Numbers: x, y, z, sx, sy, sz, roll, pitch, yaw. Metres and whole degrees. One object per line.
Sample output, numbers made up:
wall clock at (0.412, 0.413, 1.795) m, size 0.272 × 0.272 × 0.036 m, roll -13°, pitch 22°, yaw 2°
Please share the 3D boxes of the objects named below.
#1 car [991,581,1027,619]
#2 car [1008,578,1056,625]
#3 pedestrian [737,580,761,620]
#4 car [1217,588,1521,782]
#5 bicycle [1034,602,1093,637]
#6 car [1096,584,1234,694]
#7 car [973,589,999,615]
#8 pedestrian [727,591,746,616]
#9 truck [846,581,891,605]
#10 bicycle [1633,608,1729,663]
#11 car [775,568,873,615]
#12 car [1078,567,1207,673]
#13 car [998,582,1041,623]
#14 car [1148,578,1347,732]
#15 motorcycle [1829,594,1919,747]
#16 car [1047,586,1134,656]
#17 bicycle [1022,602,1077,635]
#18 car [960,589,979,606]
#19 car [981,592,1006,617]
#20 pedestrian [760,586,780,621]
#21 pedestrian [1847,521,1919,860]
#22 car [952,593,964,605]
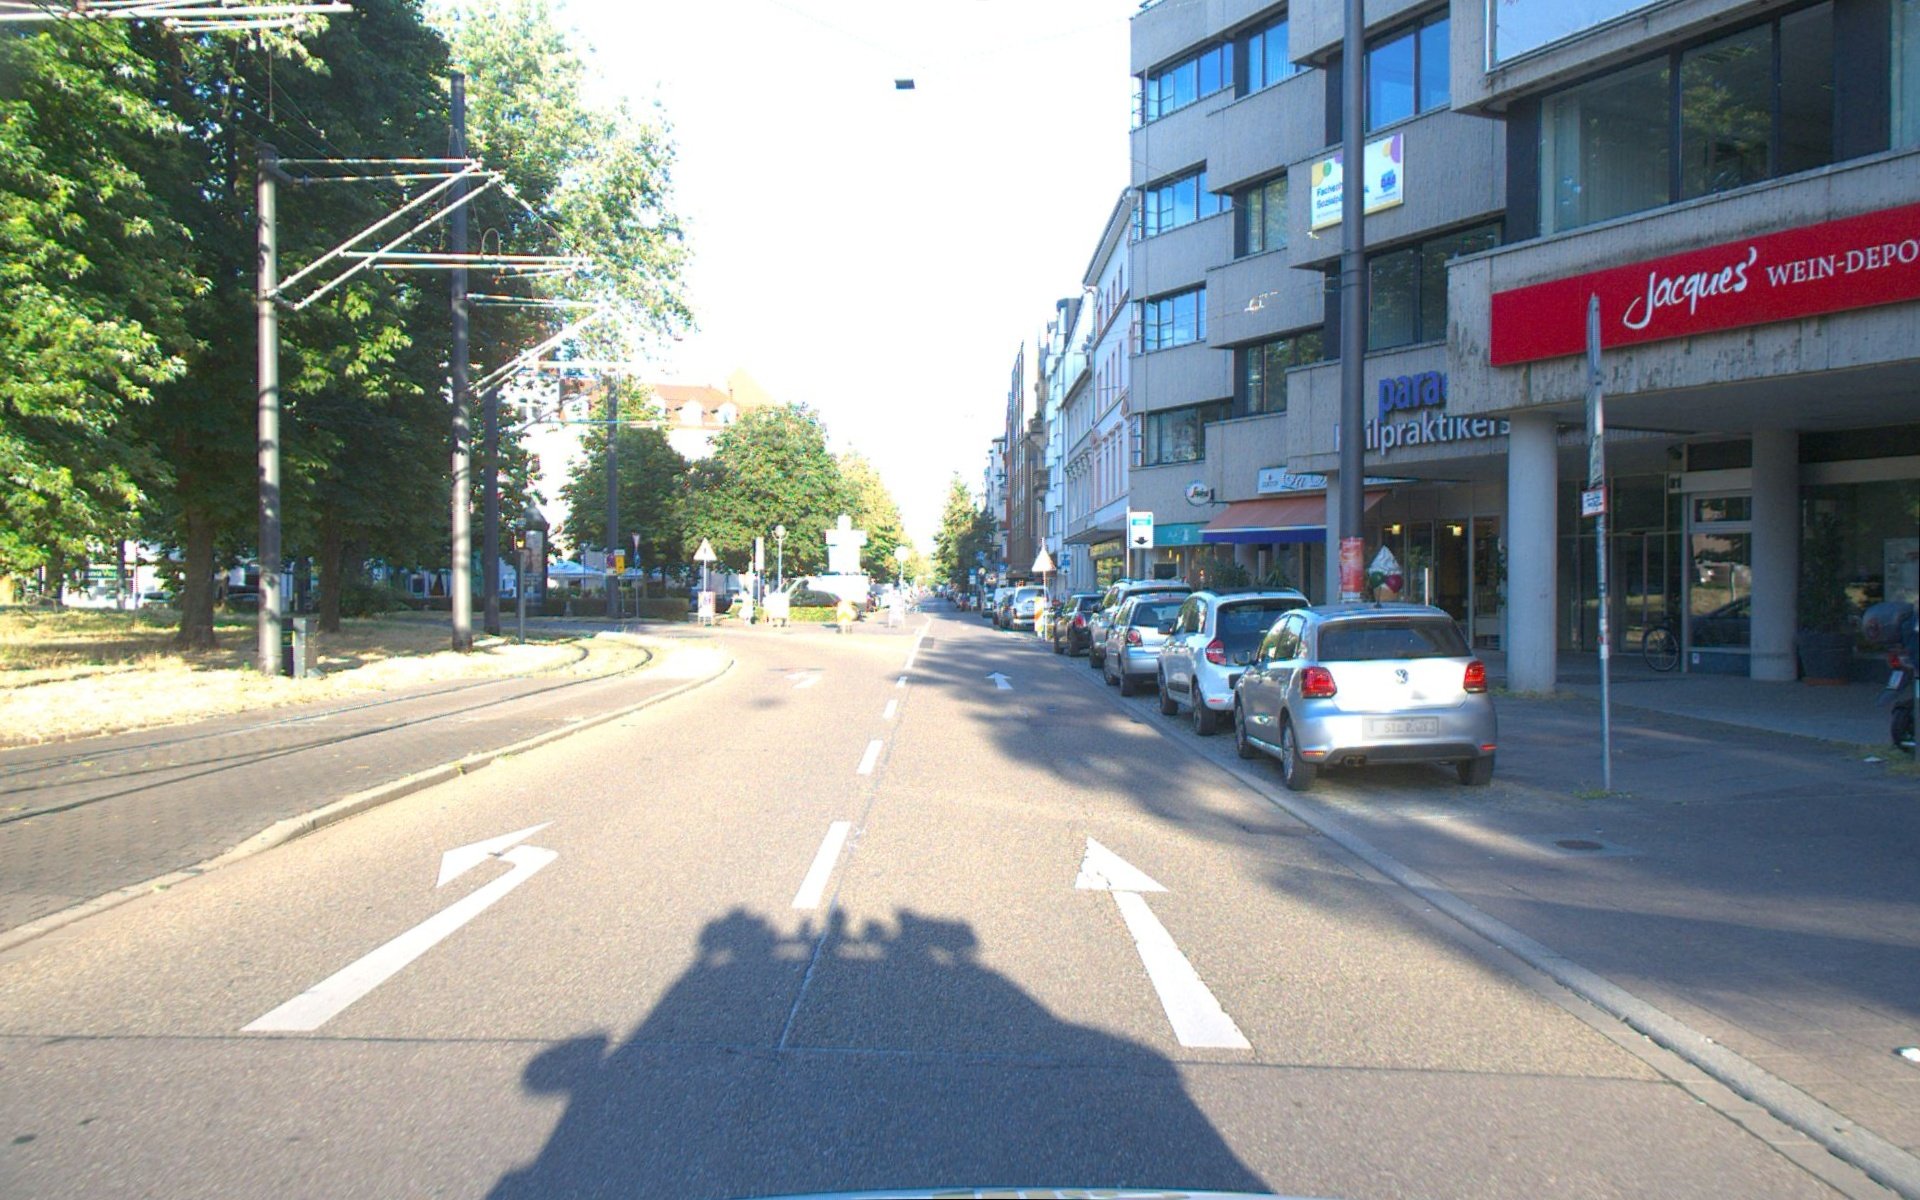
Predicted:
car at (2.524, -0.006, 85.860) m, size 1.675 × 1.867 × 4.306 m, roll 1°, pitch 0°, yaw 0°
car at (2.906, 0.056, 67.480) m, size 1.756 × 1.823 × 4.091 m, roll 0°, pitch 0°, yaw -1°
pedestrian at (-8.683, 0.000, 67.979) m, size 0.692 × 1.586 × 0.685 m, roll 1°, pitch 0°, yaw -38°
car at (3.438, 0.649, 14.639) m, size 1.748 × 1.482 × 4.000 m, roll 0°, pitch 0°, yaw 1°
bicycle at (3.261, 0.603, 51.955) m, size 1.749 × 1.007 × 0.542 m, roll -3°, pitch 1°, yaw 11°
car at (3.125, 0.541, 25.846) m, size 1.607 × 1.555 × 4.000 m, roll 1°, pitch 0°, yaw 0°
car at (1.797, 0.147, 116.984) m, size 1.662 × 1.800 × 3.999 m, roll 0°, pitch 1°, yaw -2°
pedestrian at (-11.532, 0.175, 85.303) m, size 0.741 × 1.300 × 0.653 m, roll 1°, pitch 0°, yaw -38°
truck at (-10.068, -0.756, 181.356) m, size 4.841 × 2.661 × 1.999 m, roll 0°, pitch 0°, yaw -2°
bicycle at (11.325, 0.557, 26.001) m, size 1.367 × 0.843 × 0.436 m, roll 1°, pitch 0°, yaw -11°
car at (-6.995, -0.414, 85.049) m, size 4.545 × 2.290 × 2.183 m, roll 1°, pitch 0°, yaw -28°
car at (3.372, 0.329, 31.300) m, size 1.748 × 1.836 × 4.399 m, roll 1°, pitch 0°, yaw -2°
car at (2.617, 0.097, 73.046) m, size 1.623 × 1.694 × 4.107 m, roll 1°, pitch 0°, yaw -2°
car at (3.304, 0.575, 19.613) m, size 1.553 × 1.618 × 3.666 m, roll 1°, pitch 0°, yaw -2°
motorcycle at (8.451, 0.568, 13.736) m, size 2.235 × 1.211 × 0.703 m, roll 0°, pitch 0°, yaw -11°
car at (3.045, 0.448, 39.214) m, size 1.753 × 1.534 × 3.921 m, roll 1°, pitch 0°, yaw 0°
bicycle at (3.014, 0.625, 55.877) m, size 1.751 × 1.007 × 0.542 m, roll -2°, pitch 2°, yaw 22°
car at (0.938, -0.270, 158.996) m, size 1.545 × 1.570 × 3.394 m, roll -2°, pitch 0°, yaw -3°
car at (2.262, 0.307, 111.922) m, size 1.645 × 1.588 × 4.001 m, roll -1°, pitch 1°, yaw 1°
pedestrian at (-7.835, 0.145, 68.185) m, size 0.558 × 1.388 × 0.606 m, roll 1°, pitch 0°, yaw -38°
pedestrian at (5.432, 0.482, 9.018) m, size 0.630 × 1.817 × 0.850 m, roll -1°, pitch 1°, yaw -24°
car at (-0.194, -0.129, 190.850) m, size 1.182 × 1.323 × 2.659 m, roll 1°, pitch -1°, yaw -3°
